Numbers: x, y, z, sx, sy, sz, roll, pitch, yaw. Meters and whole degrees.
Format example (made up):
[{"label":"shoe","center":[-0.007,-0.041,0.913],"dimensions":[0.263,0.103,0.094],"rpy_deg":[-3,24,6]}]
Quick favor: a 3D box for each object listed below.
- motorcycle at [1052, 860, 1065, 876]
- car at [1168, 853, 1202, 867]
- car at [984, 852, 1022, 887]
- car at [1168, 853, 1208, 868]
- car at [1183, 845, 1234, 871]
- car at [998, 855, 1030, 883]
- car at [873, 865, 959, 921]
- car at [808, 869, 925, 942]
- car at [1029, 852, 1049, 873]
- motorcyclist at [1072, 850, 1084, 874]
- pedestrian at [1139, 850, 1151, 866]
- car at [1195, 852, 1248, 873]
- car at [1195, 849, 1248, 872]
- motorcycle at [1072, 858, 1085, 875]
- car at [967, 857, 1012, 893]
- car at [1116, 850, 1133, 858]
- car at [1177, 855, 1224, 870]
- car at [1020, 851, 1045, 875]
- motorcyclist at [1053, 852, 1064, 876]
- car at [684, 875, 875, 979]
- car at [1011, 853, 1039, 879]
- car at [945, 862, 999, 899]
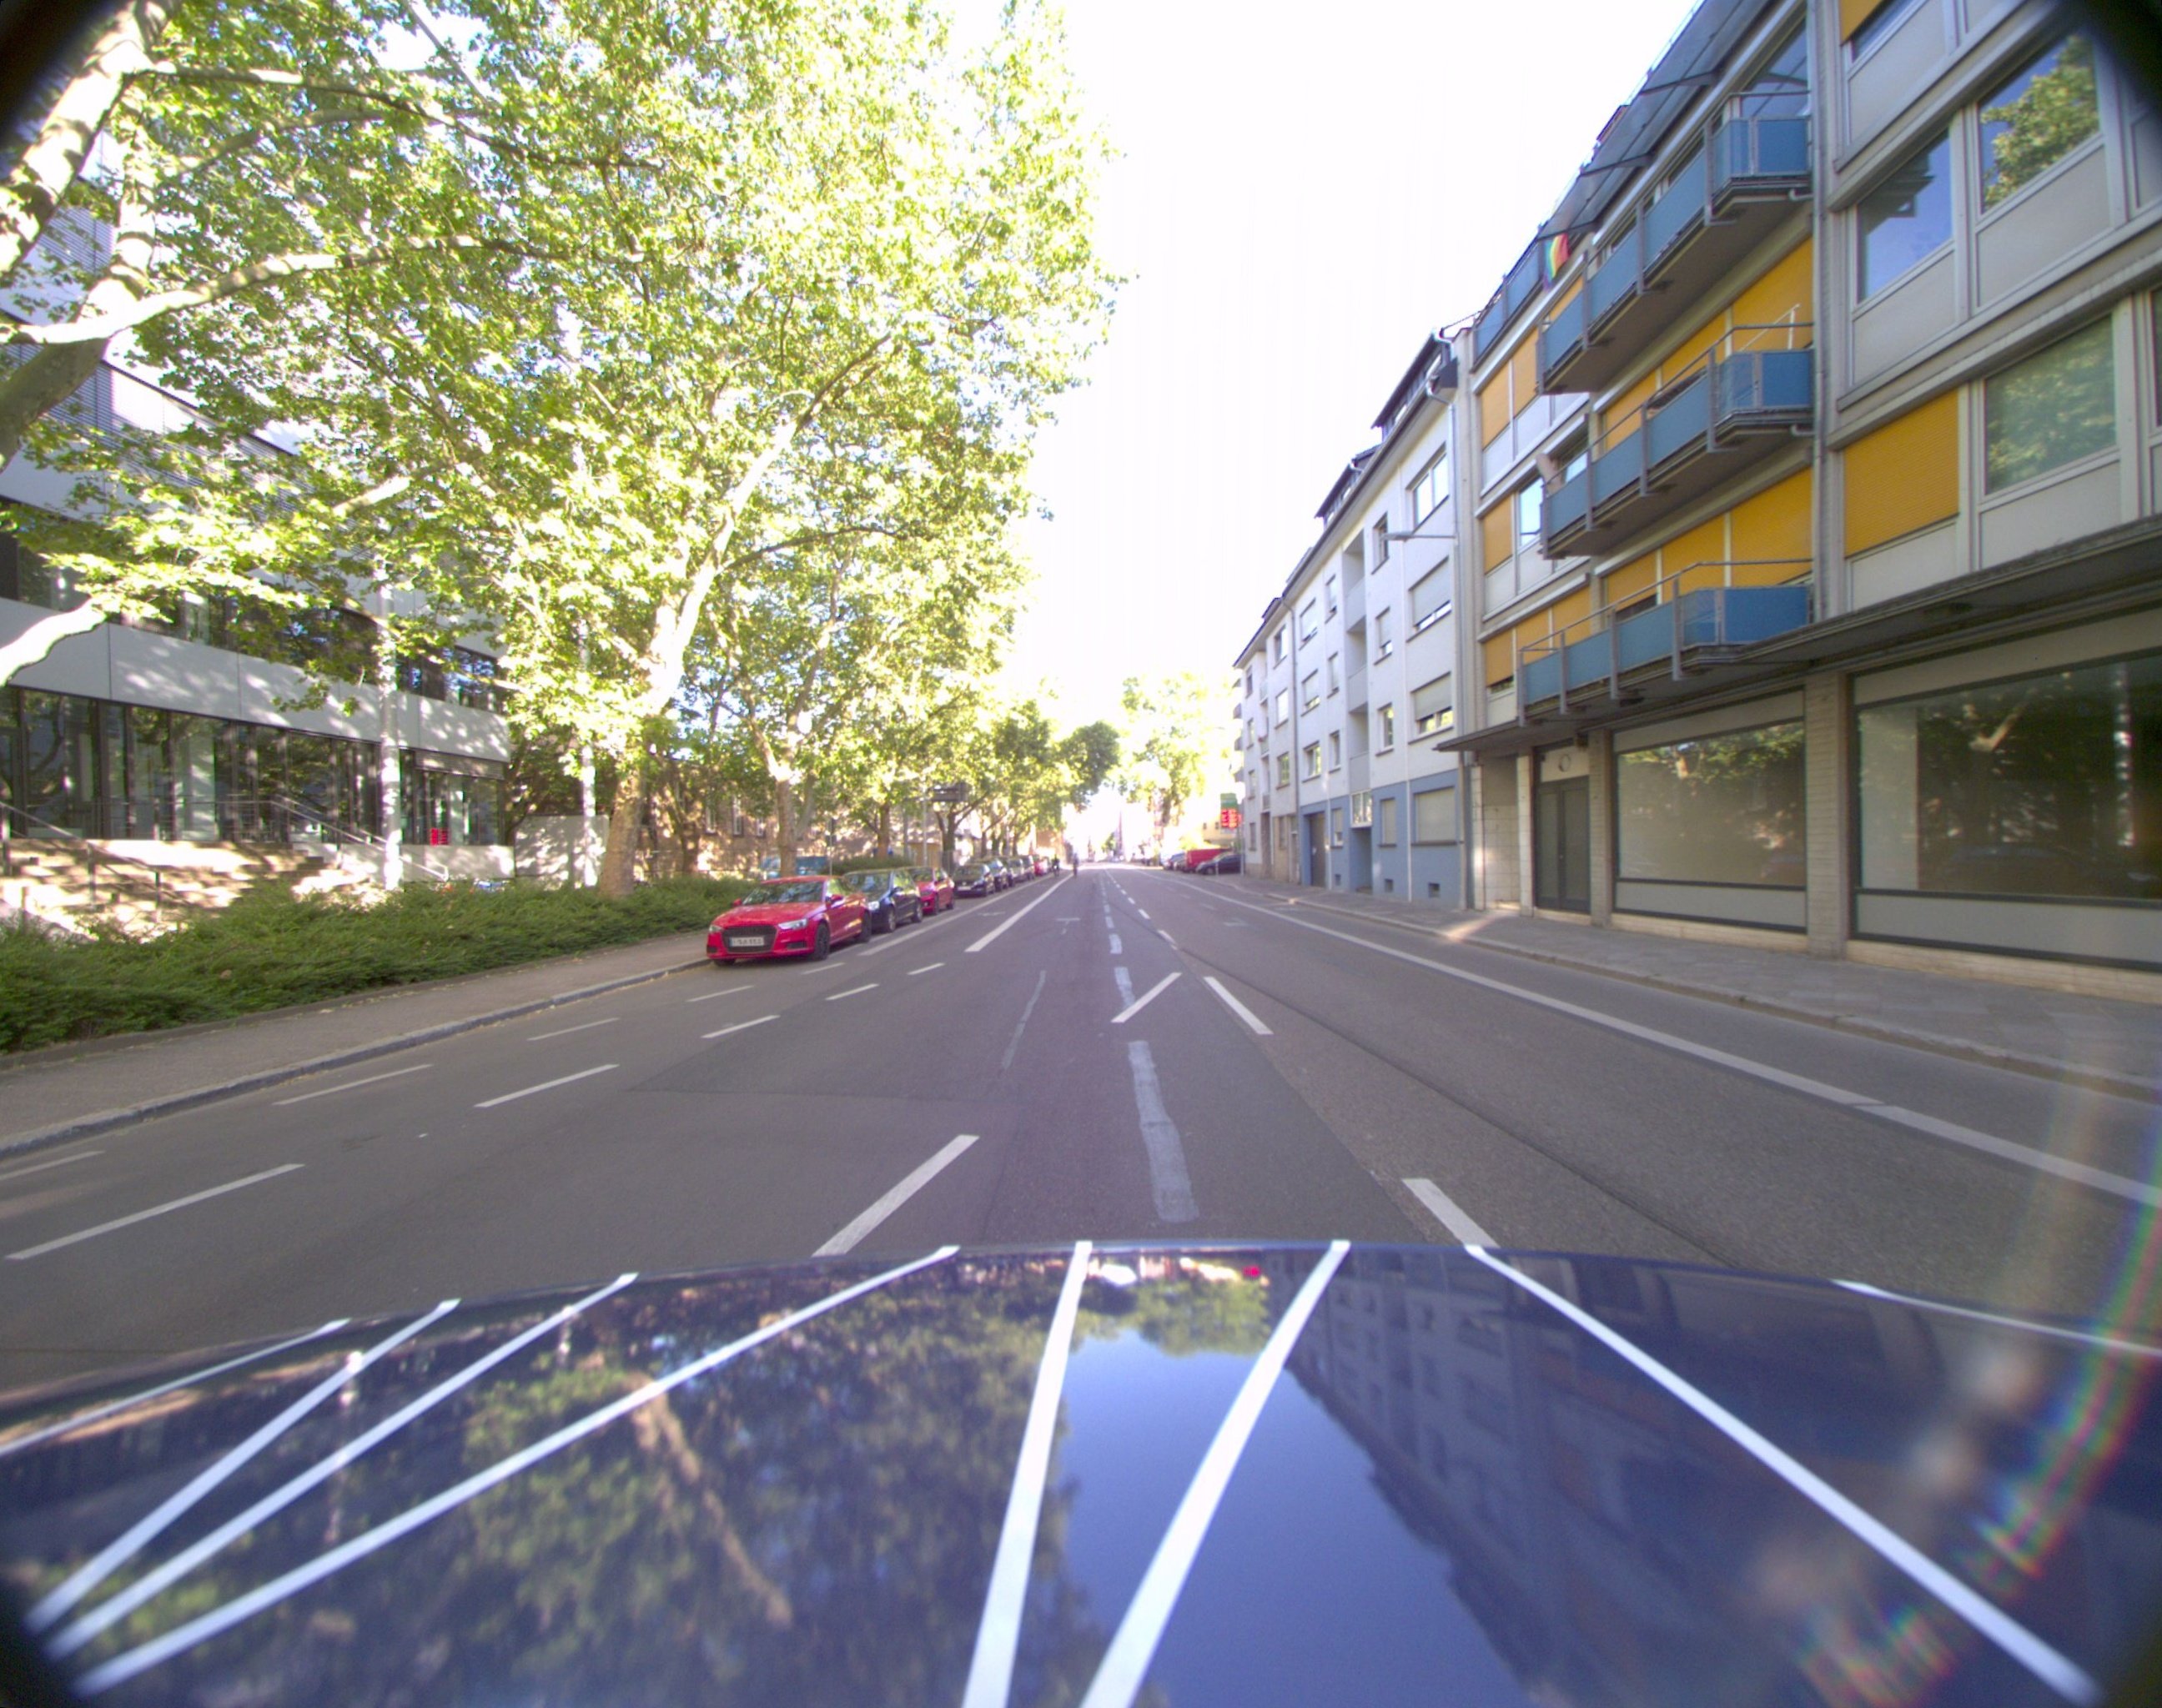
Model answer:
[{"label":"motorcycle","center":[-1.657,1.049,56.596],"dimensions":[0.799,1.125,2.236],"rpy_deg":[-2,1,1]},{"label":"car","center":[10.310,0.581,75.472],"dimensions":[3.271,1.238,1.345],"rpy_deg":[-2,1,2]},{"label":"car","center":[-4.464,0.852,44.244],"dimensions":[1.634,1.781,4.576],"rpy_deg":[-2,1,0]},{"label":"car","center":[10.255,0.626,73.034],"dimensions":[3.687,1.238,1.345],"rpy_deg":[-2,1,2]},{"label":"car","center":[10.049,0.320,59.948],"dimensions":[3.688,1.897,1.490],"rpy_deg":[-2,-1,-1]},{"label":"car","center":[-4.363,0.938,50.115],"dimensions":[1.634,1.604,4.576],"rpy_deg":[-2,1,0]},{"label":"car","center":[-5.020,1.131,23.688],"dimensions":[1.692,1.441,3.923],"rpy_deg":[-2,1,1]},{"label":"car","center":[-5.057,1.161,18.414],"dimensions":[1.669,1.410,3.697],"rpy_deg":[-2,1,1]},{"label":"car","center":[-3.915,0.805,71.007],"dimensions":[1.599,1.835,3.769],"rpy_deg":[-2,1,0]},{"label":"motorcyclist","center":[-0.193,0.630,57.855],"dimensions":[0.833,1.778,0.913],"rpy_deg":[-2,1,1]},{"label":"pedestrian","center":[7.100,0.410,84.575],"dimensions":[0.894,1.727,0.827],"rpy_deg":[-3,1,-41]},{"label":"car","center":[10.081,0.589,54.734],"dimensions":[3.508,1.380,1.490],"rpy_deg":[-2,1,2]},{"label":"car","center":[10.523,0.484,57.103],"dimensions":[3.687,1.503,1.490],"rpy_deg":[-2,1,2]},{"label":"motorcycle","center":[-0.184,0.938,57.983],"dimensions":[0.865,1.161,1.929],"rpy_deg":[-2,1,1]},{"label":"car","center":[-4.527,0.991,38.111],"dimensions":[1.634,1.569,4.231],"rpy_deg":[-2,1,0]},{"label":"car","center":[11.659,0.062,202.778],"dimensions":[4.007,2.002,1.995],"rpy_deg":[-2,1,-34]},{"label":"car","center":[9.801,0.693,62.593],"dimensions":[3.687,1.122,1.345],"rpy_deg":[-2,1,2]},{"label":"car","center":[-4.182,0.721,66.095],"dimensions":[1.915,1.940,3.769],"rpy_deg":[-2,1,0]},{"label":"motorcyclist","center":[-1.650,0.763,56.624],"dimensions":[0.719,1.733,0.751],"rpy_deg":[-2,1,1]},{"label":"car","center":[-5.167,1.178,13.661],"dimensions":[1.794,1.384,3.999],"rpy_deg":[-2,1,0]},{"label":"car","center":[-4.048,0.814,55.243],"dimensions":[1.634,1.725,3.769],"rpy_deg":[-2,1,0]},{"label":"car","center":[-4.701,1.110,33.240],"dimensions":[1.692,1.414,3.923],"rpy_deg":[-2,1,0]}]
